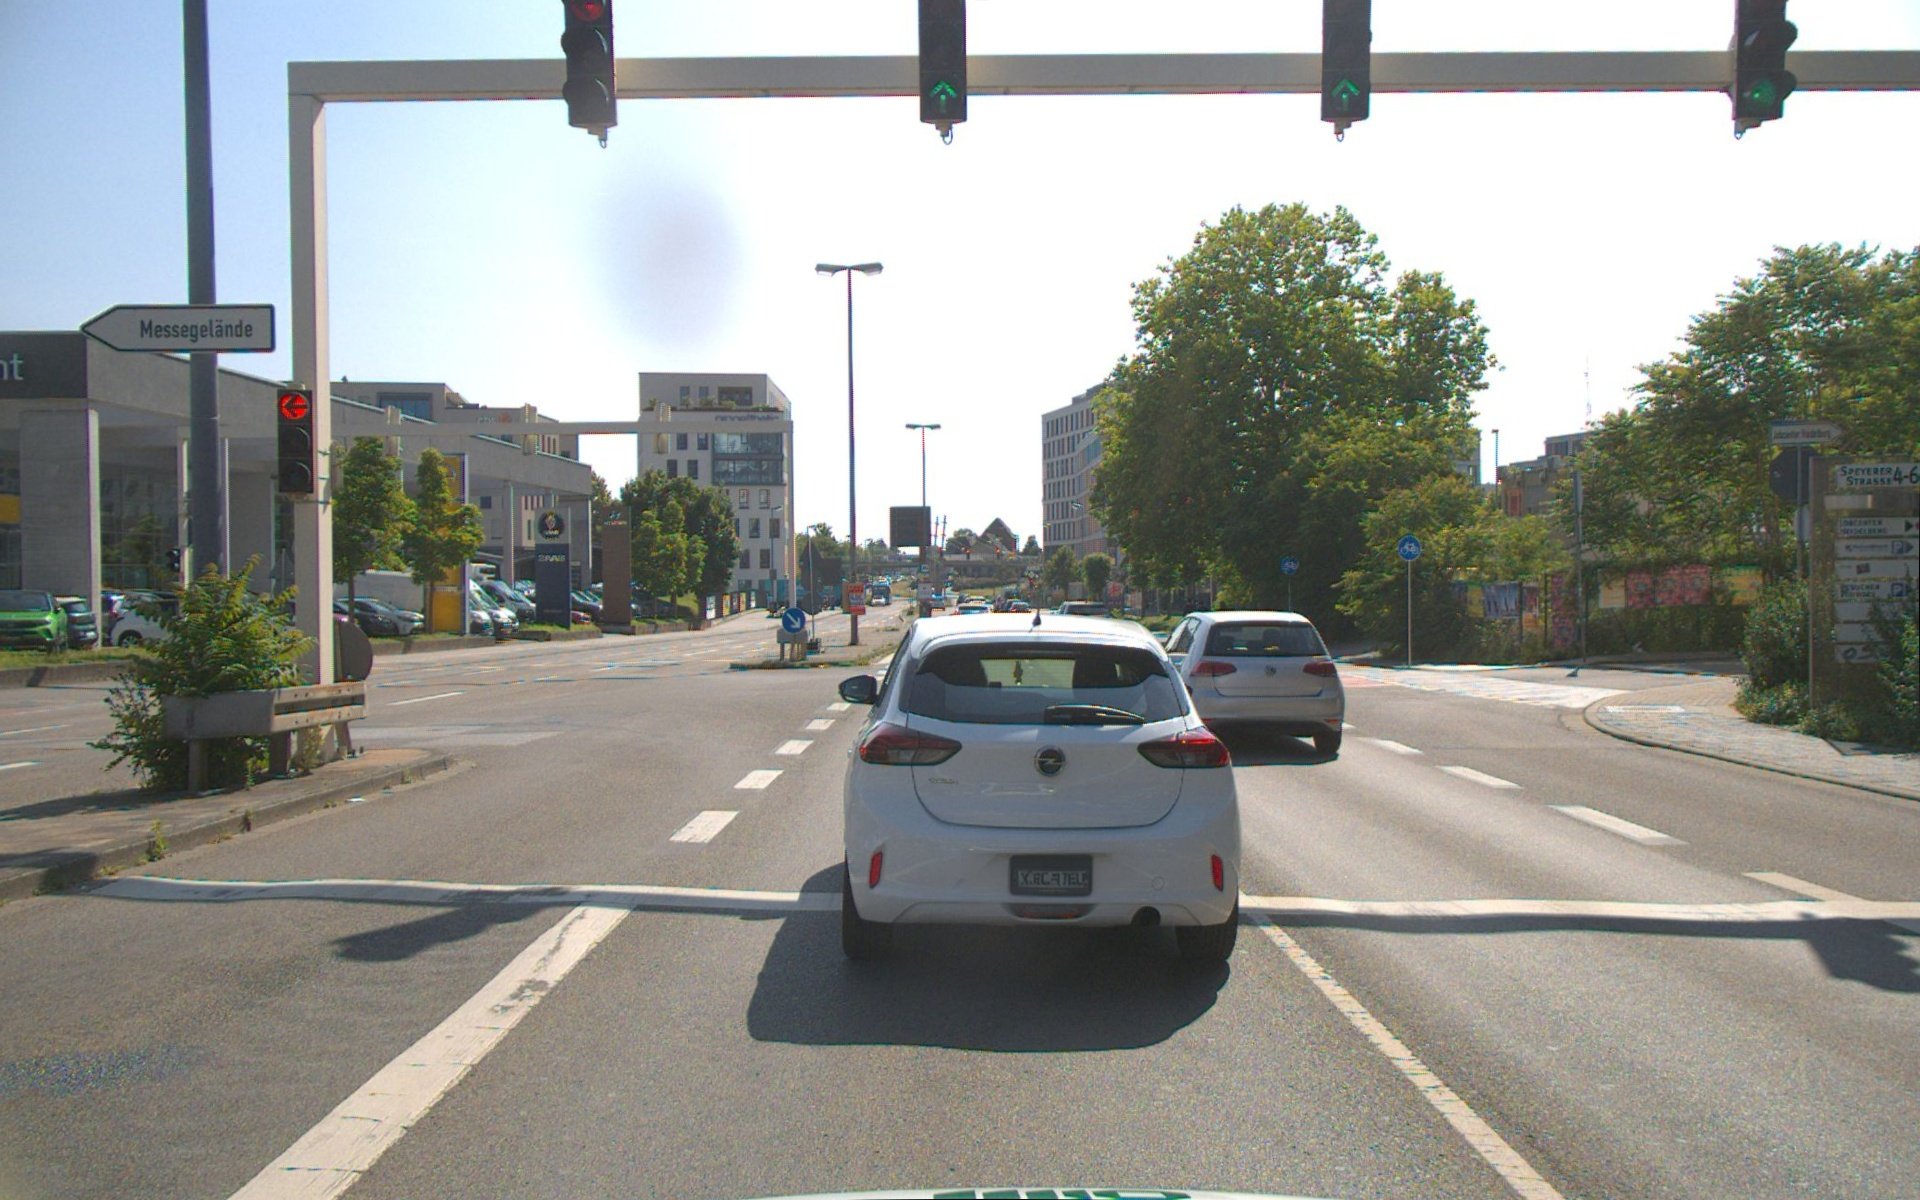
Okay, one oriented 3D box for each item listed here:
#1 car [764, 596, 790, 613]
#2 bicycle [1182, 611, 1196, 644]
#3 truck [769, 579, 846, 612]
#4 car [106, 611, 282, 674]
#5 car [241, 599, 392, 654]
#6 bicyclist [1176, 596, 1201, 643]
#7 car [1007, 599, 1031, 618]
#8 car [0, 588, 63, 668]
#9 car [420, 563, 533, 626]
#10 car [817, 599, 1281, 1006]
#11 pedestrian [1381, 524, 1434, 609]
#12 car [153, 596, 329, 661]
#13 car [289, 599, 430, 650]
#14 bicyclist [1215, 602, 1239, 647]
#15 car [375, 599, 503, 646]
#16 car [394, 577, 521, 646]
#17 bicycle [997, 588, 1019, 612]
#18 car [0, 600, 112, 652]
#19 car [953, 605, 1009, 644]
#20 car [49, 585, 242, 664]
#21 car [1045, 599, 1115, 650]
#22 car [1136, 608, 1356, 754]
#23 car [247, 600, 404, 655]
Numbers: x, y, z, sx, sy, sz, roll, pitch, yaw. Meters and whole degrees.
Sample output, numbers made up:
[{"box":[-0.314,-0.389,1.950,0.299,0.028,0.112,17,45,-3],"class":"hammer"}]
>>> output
[{"box":[-15.611,0.376,141.073,1.769,1.410,3.999,1,-1,0],"class":"car"},{"box":[8.858,1.051,63.927,0.365,1.238,1.153,1,0,0],"class":"bicycle"},{"box":[-18.287,-0.566,198.119,8.894,3.902,3.075,-1,0,-9],"class":"truck"},{"box":[-20.841,1.135,45.145,3.911,1.627,1.997,0,0,-7],"class":"car"},{"box":[-21.440,0.866,55.233,4.269,1.726,1.999,-1,0,-3],"class":"car"},{"box":[8.831,0.763,63.916,0.861,1.803,0.863,0,0,0],"class":"bicyclist"},{"box":[4.769,0.707,134.207,1.769,1.410,3.999,1,-1,0],"class":"car"},{"box":[-22.034,0.661,38.216,1.886,1.764,3.251,0,-1,-37],"class":"car"},{"box":[-21.013,-0.238,71.976,4.264,2.646,2.001,0,0,5],"class":"car"},{"box":[0.330,0.767,8.252,1.743,1.520,4.000,0,0,0],"class":"car"},{"box":[11.015,-0.815,40.753,1.006,2.049,1.038,0,0,-1],"class":"pedestrian"},{"box":[-20.746,0.811,47.875,4.211,1.796,1.999,-1,0,-3],"class":"car"},{"box":[-21.176,0.856,58.469,4.269,1.726,1.999,-1,0,-3],"class":"car"},{"box":[10.213,0.934,63.267,0.675,1.672,0.775,0,0,-8],"class":"bicyclist"},{"box":[-20.199,0.862,64.210,4.264,1.726,2.001,-1,0,5],"class":"car"},{"box":[-20.238,0.457,66.661,4.401,2.731,2.130,0,0,9],"class":"car"},{"box":[4.482,-0.042,154.571,1.953,2.195,4.000,0,0,0],"class":"bicycle"},{"box":[-25.651,0.733,44.846,4.275,1.290,1.996,-2,-2,-8],"class":"car"},{"box":[0.786,0.939,64.355,1.953,1.472,4.369,1,0,-2],"class":"car"},{"box":[-20.166,0.587,41.086,3.793,1.870,1.999,-1,0,-3],"class":"car"},{"box":[3.917,0.780,54.557,1.953,1.578,4.433,-1,0,0],"class":"car"},{"box":[3.101,0.835,18.685,1.770,1.454,3.999,0,-1,0],"class":"car"},{"box":[-20.297,0.862,53.013,4.269,1.726,1.999,0,0,-3],"class":"car"}]
